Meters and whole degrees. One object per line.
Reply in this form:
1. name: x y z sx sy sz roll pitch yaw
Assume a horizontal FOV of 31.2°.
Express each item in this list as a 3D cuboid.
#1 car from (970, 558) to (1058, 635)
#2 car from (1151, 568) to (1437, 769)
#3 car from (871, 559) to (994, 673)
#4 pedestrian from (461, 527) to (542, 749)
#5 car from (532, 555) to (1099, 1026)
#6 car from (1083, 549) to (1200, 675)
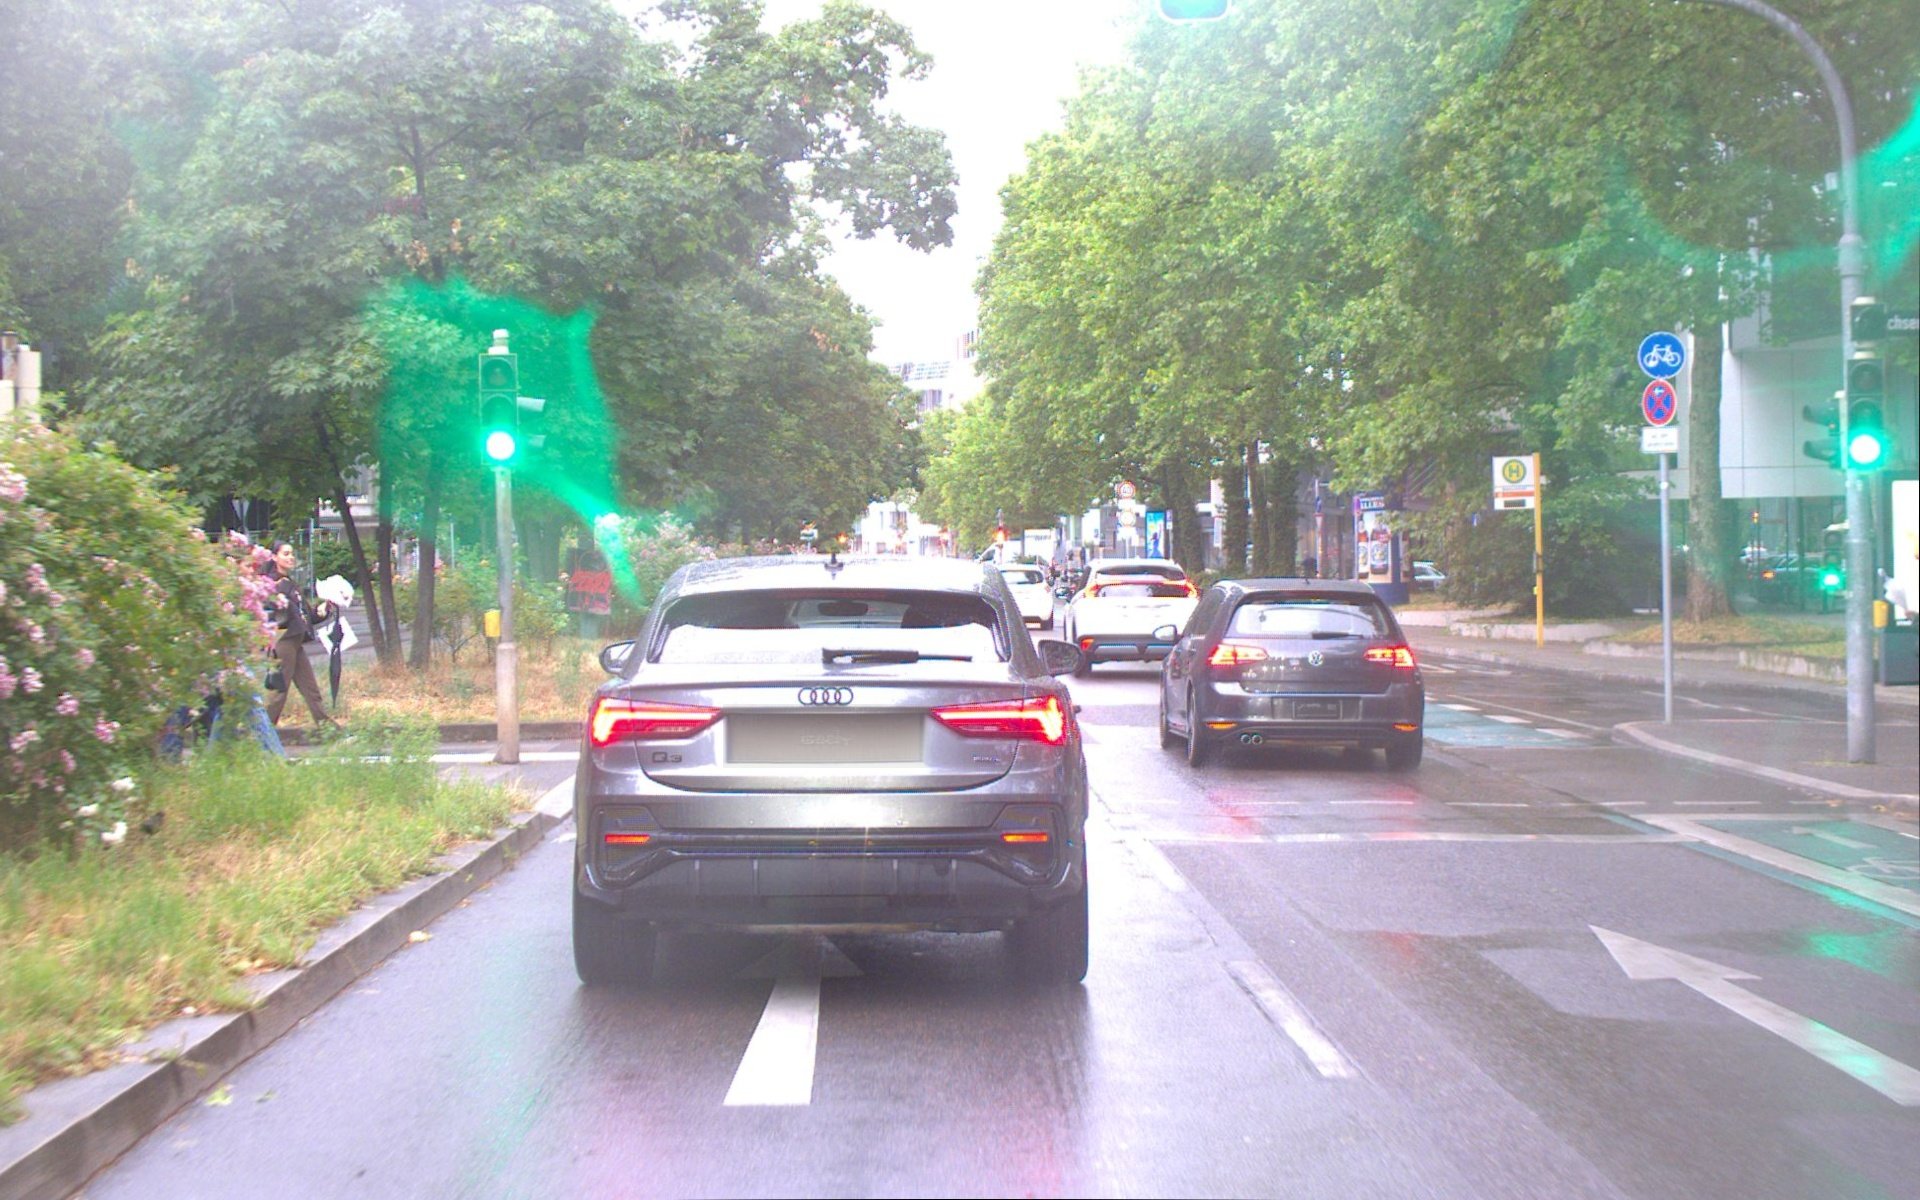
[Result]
1. car: 1.270 -0.103 82.865 1.993 1.744 4.000 -1 1 -1
2. car: 2.559 0.485 27.201 1.765 1.408 4.000 -1 1 -1
3. car: -0.427 0.206 50.832 1.721 1.572 3.962 -1 1 -1
4. pedestrian: -3.551 0.288 26.626 0.573 1.692 0.404 -1 1 -13
5. car: -0.461 0.602 13.619 1.863 1.527 4.527 0 1 0
6. car: 2.520 0.142 48.190 1.433 1.679 2.979 -1 1 -1
